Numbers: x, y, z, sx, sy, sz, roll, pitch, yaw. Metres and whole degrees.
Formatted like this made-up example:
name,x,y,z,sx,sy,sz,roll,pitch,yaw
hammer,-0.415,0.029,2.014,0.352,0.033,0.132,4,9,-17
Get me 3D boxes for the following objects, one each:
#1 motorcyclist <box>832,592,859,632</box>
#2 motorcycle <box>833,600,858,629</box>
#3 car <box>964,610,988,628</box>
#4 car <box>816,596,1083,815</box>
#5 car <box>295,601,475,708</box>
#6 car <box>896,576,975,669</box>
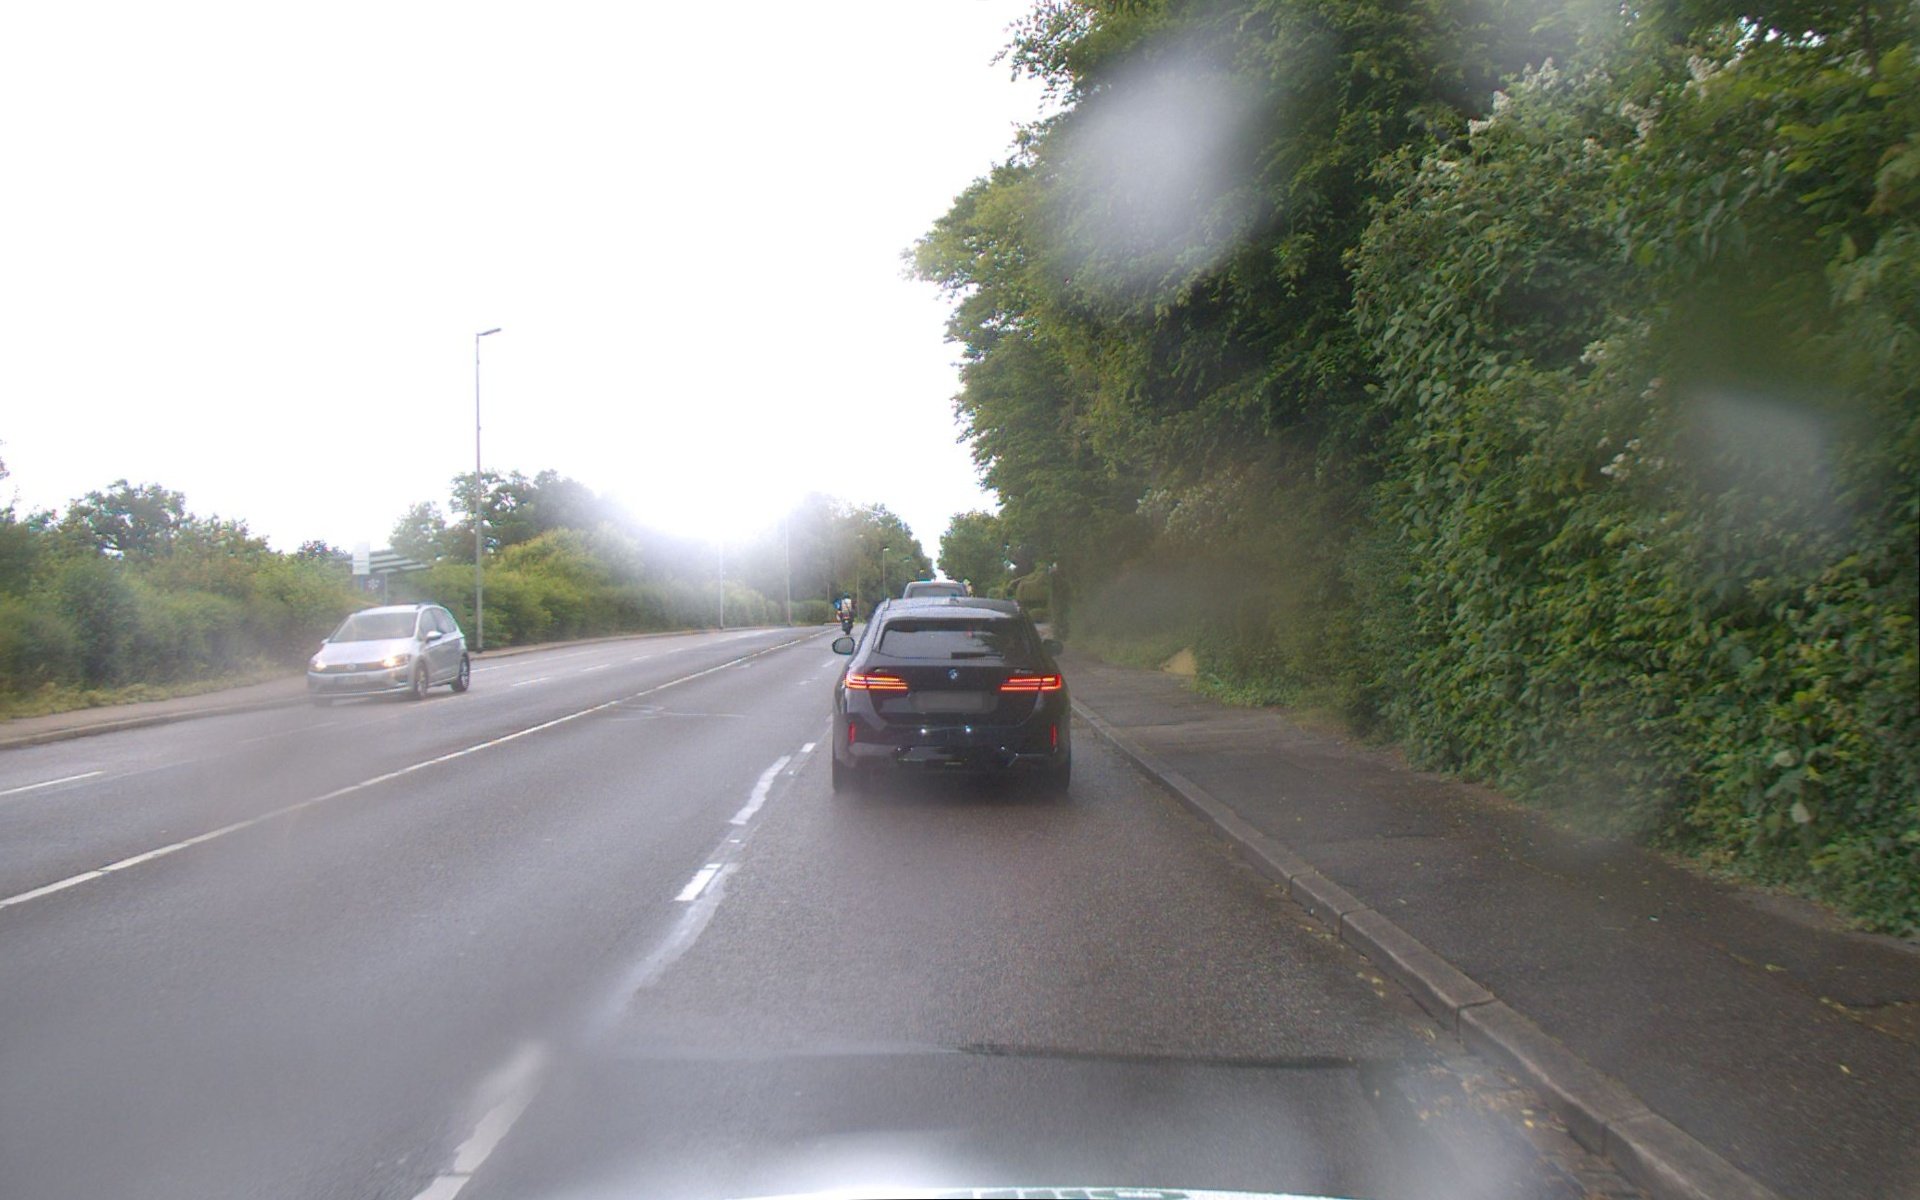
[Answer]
name,x,y,z,sx,sy,sz,roll,pitch,yaw
motorcyclist,-4.635,0.481,67.155,1.018,1.595,0.855,1,-1,-1
motorcycle,-4.644,0.603,67.237,0.858,1.144,2.740,1,-1,-1
car,1.387,1.568,139.172,1.895,1.467,4.408,-1,0,2
car,-0.067,0.758,13.665,1.858,1.515,4.000,1,0,0
car,-9.578,0.854,27.850,1.721,1.595,3.998,-3,0,-3
car,-0.535,0.467,36.454,1.596,1.865,3.999,-2,0,-1
